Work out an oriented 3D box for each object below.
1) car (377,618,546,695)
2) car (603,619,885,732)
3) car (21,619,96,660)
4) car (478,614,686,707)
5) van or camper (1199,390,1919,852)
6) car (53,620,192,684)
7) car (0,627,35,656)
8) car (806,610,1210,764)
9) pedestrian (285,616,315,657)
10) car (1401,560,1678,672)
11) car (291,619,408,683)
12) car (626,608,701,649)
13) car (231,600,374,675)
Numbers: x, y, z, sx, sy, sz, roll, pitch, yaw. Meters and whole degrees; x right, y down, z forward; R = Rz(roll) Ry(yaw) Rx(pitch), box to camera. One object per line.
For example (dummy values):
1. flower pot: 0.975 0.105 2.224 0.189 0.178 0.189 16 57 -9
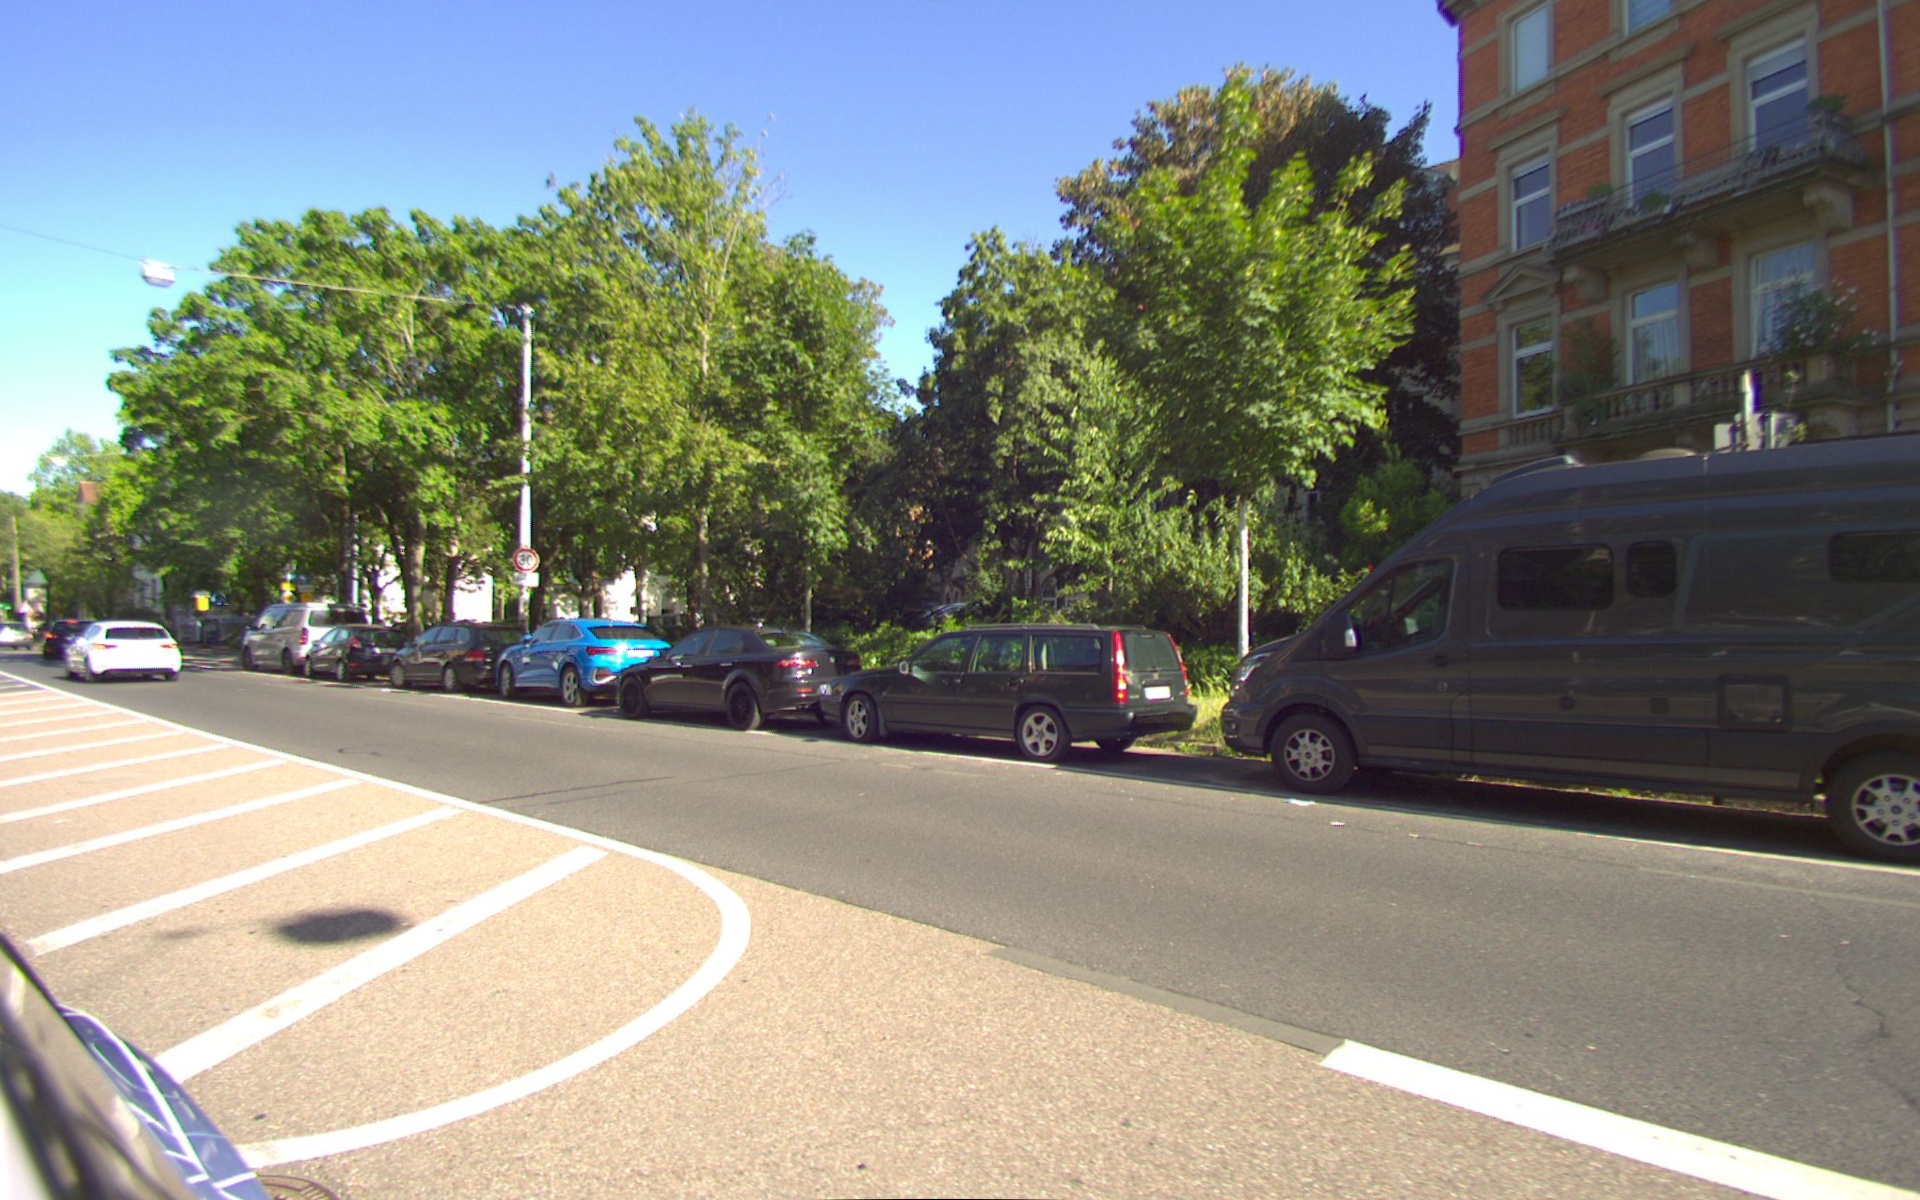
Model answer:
1. car: -10.935 1.179 22.092 4.266 1.493 1.575 0 -2 38
2. car: -3.288 1.027 14.903 4.403 1.424 1.762 -1 -3 41
3. car: -33.684 1.451 37.776 4.131 1.461 1.576 -1 -2 41
4. car: -7.174 1.076 18.976 4.558 1.550 1.761 -1 -3 43
5. van or camper: 5.176 0.163 8.000 6.085 2.760 2.193 -1 -2 41
6. car: -20.707 1.229 24.968 4.222 1.430 1.899 -1 -2 40
7. car: -50.904 2.204 53.864 3.775 1.502 1.821 -1 -2 37
8. car: 0.400 0.899 11.823 4.659 1.468 1.676 -1 -3 40
9. pedestrian: -29.075 1.612 44.575 0.817 1.768 0.863 -1 -1 30
10. car: 11.168 0.291 19.901 1.833 1.928 4.466 2 -1 -25
11. car: -15.980 1.294 26.417 3.957 1.513 1.448 0 -2 41
12. car: -17.210 1.666 58.623 4.915 2.263 1.868 -1 -2 41
13. car: -19.450 1.108 29.863 4.867 2.052 1.965 -1 -4 37
